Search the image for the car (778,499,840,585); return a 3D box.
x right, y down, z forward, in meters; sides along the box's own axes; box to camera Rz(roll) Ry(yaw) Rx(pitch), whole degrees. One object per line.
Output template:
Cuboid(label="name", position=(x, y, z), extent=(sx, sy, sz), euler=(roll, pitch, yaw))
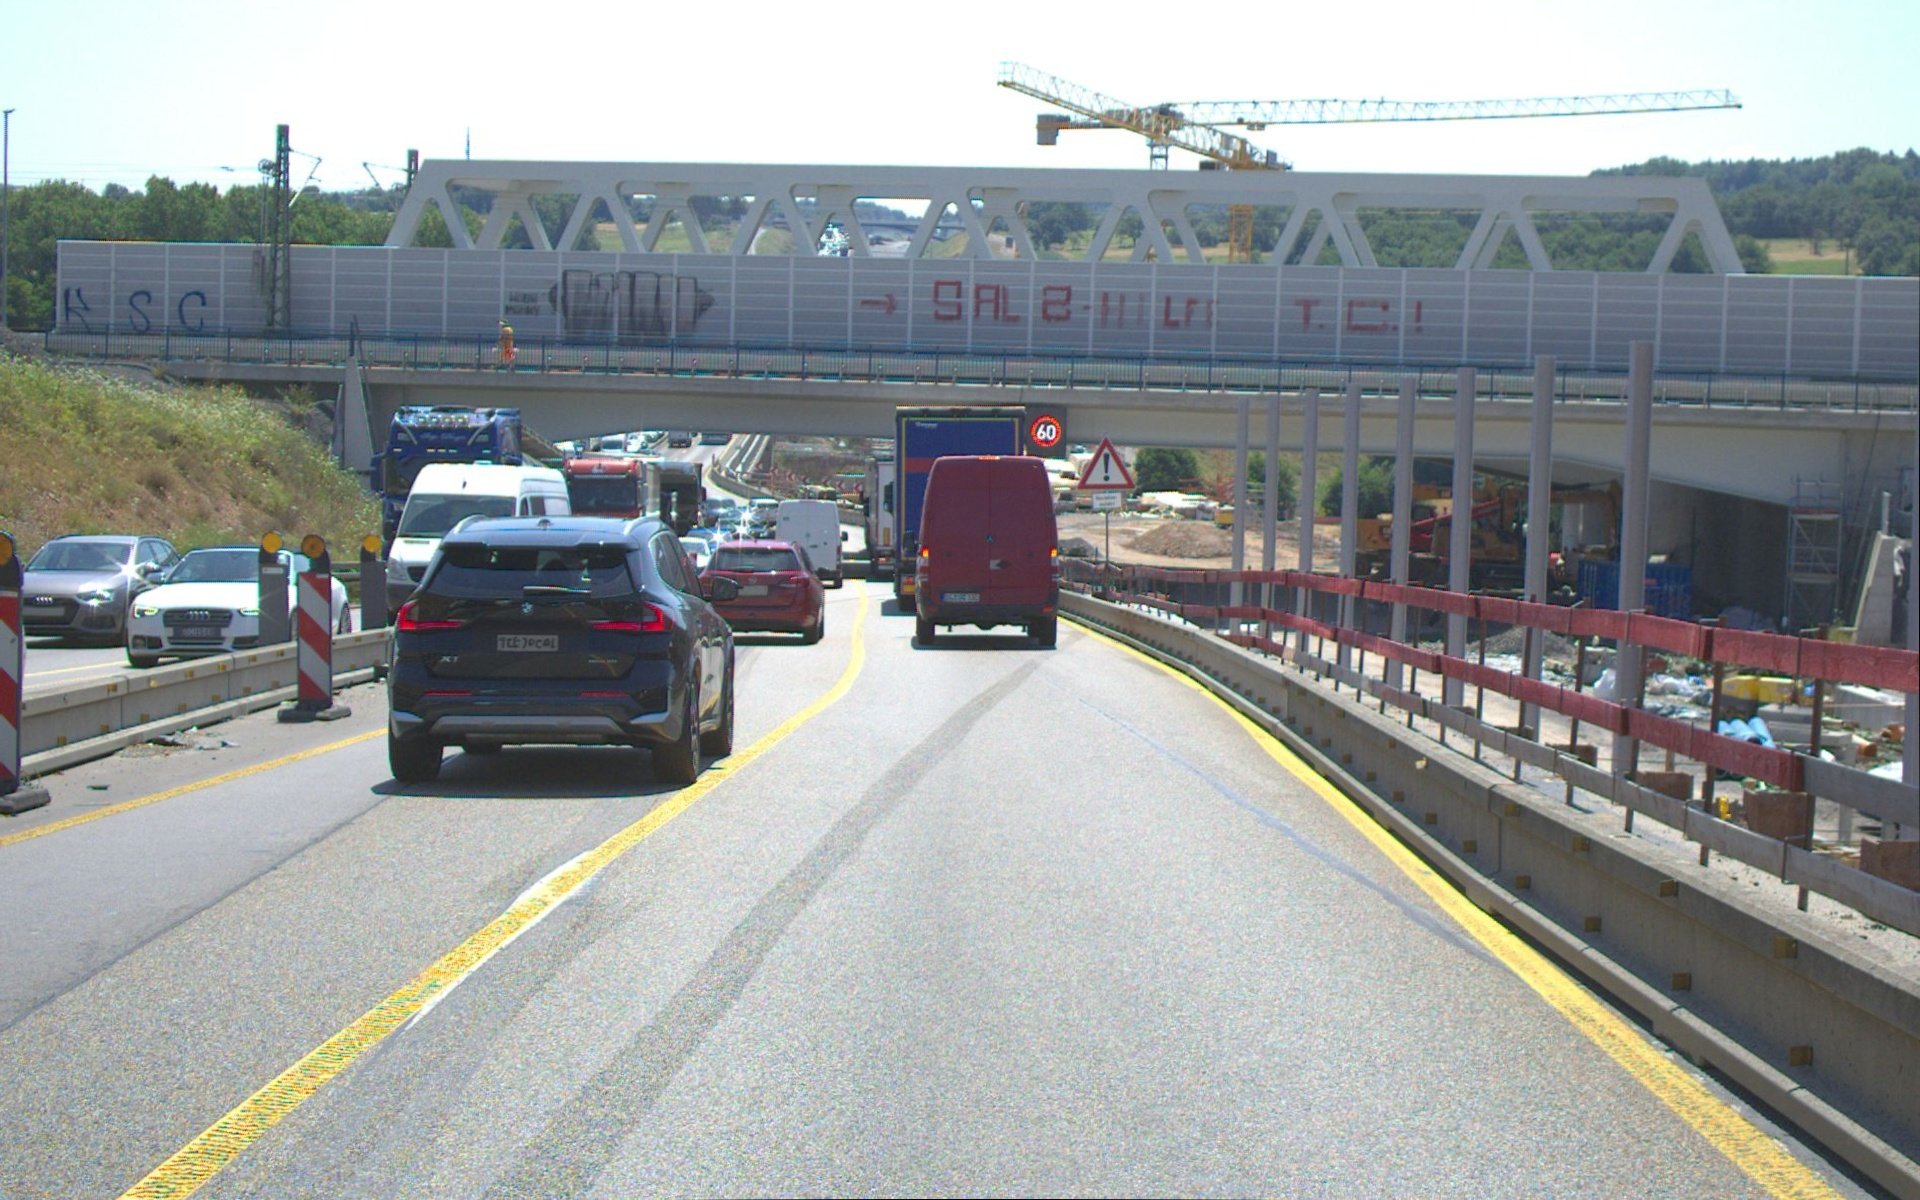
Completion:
Cuboid(label="car", position=(-4.391, -1.706, 99.852), extent=(1.775, 2.432, 4.207), euler=(0, 2, -3))

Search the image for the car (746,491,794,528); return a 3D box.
Cuboid(label="car", position=(-10.667, -5.069, 192.836), extent=(1.993, 2.007, 4.001), euler=(1, 1, -13))

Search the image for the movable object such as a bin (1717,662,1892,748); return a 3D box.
Cuboid(label="movable object such as a bin", position=(17.274, 2.139, 70.367), extent=(3.103, 1.558, 1.550), euler=(2, 2, 34))

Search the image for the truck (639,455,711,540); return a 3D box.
Cuboid(label="truck", position=(-13.530, -4.870, 163.992), extent=(2.834, 3.839, 12.914), euler=(1, 1, -2))

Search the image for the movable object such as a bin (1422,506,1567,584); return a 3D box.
Cuboid(label="movable object such as a bin", position=(20.123, -2.080, 129.547), extent=(5.147, 2.798, 2.142), euler=(1, 1, 4))

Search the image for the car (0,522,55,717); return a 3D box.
Cuboid(label="car", position=(-8.186, 0.157, 25.124), extent=(1.961, 1.459, 4.941), euler=(1, 2, -2))

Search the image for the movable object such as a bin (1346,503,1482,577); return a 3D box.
Cuboid(label="movable object such as a bin", position=(18.016, -2.389, 136.570), extent=(5.147, 2.798, 2.142), euler=(1, 1, 4))

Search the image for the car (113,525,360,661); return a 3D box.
Cuboid(label="car", position=(-8.331, -0.130, 39.972), extent=(1.800, 1.442, 4.637), euler=(1, 1, 1))

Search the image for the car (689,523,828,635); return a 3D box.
Cuboid(label="car", position=(-2.850, -0.333, 49.280), extent=(1.776, 1.512, 4.206), euler=(0, 2, 0))

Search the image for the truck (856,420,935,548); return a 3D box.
Cuboid(label="truck", position=(-2.949, -5.129, 153.432), extent=(2.834, 5.380, 12.914), euler=(1, 1, -4))

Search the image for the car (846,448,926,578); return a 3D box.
Cuboid(label="car", position=(-2.483, -2.888, 113.565), extent=(2.450, 4.146, 6.861), euler=(0, 2, -3))

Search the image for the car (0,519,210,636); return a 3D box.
Cuboid(label="car", position=(-11.336, -0.329, 45.696), extent=(1.765, 1.442, 4.128), euler=(1, 1, 1))

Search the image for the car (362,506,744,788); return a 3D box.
Cuboid(label="car", position=(-2.481, 0.207, 22.024), extent=(1.879, 1.612, 4.499), euler=(0, 2, 0))

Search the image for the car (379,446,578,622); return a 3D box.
Cuboid(label="car", position=(-7.576, -1.073, 54.828), extent=(1.993, 2.598, 7.011), euler=(1, 1, 1))

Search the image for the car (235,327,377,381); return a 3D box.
Cuboid(label="car", position=(-23.254, -8.740, 122.276), extent=(4.555, 1.776, 1.959), euler=(1, 1, 11))

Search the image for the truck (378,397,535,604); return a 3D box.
Cuboid(label="truck", position=(-10.086, -2.001, 69.157), extent=(2.358, 4.001, 4.000), euler=(1, 1, 2))

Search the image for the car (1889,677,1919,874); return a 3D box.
Cuboid(label="car", position=(15.997, 2.524, 46.332), extent=(6.086, 2.576, 2.531), euler=(2, 3, -11))

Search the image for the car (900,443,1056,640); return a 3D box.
Cuboid(label="car", position=(0.207, -0.860, 49.318), extent=(1.988, 2.681, 4.624), euler=(0, 2, -3))

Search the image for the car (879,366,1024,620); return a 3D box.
Cuboid(label="car", position=(-0.292, -2.266, 73.441), extent=(2.621, 5.014, 10.398), euler=(0, 2, -3))

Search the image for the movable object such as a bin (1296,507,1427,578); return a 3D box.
Cuboid(label="movable object such as a bin", position=(16.478, -2.375, 141.344), extent=(5.147, 2.798, 2.142), euler=(1, 1, 4))

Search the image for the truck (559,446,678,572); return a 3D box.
Cuboid(label="truck", position=(-11.078, -2.978, 112.669), extent=(2.834, 3.839, 12.913), euler=(1, 1, -1))

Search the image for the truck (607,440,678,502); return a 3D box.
Cuboid(label="truck", position=(-20.803, -8.371, 224.653), extent=(2.834, 3.839, 12.917), euler=(1, 1, -13))

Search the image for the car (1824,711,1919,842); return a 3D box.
Cuboid(label="car", position=(15.976, 2.785, 52.967), extent=(4.727, 1.767, 2.000), euler=(3, 3, -1))

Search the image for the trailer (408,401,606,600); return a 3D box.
Cuboid(label="trailer", position=(-9.805, -2.168, 75.657), extent=(2.347, 4.001, 11.449), euler=(1, 1, 2))
